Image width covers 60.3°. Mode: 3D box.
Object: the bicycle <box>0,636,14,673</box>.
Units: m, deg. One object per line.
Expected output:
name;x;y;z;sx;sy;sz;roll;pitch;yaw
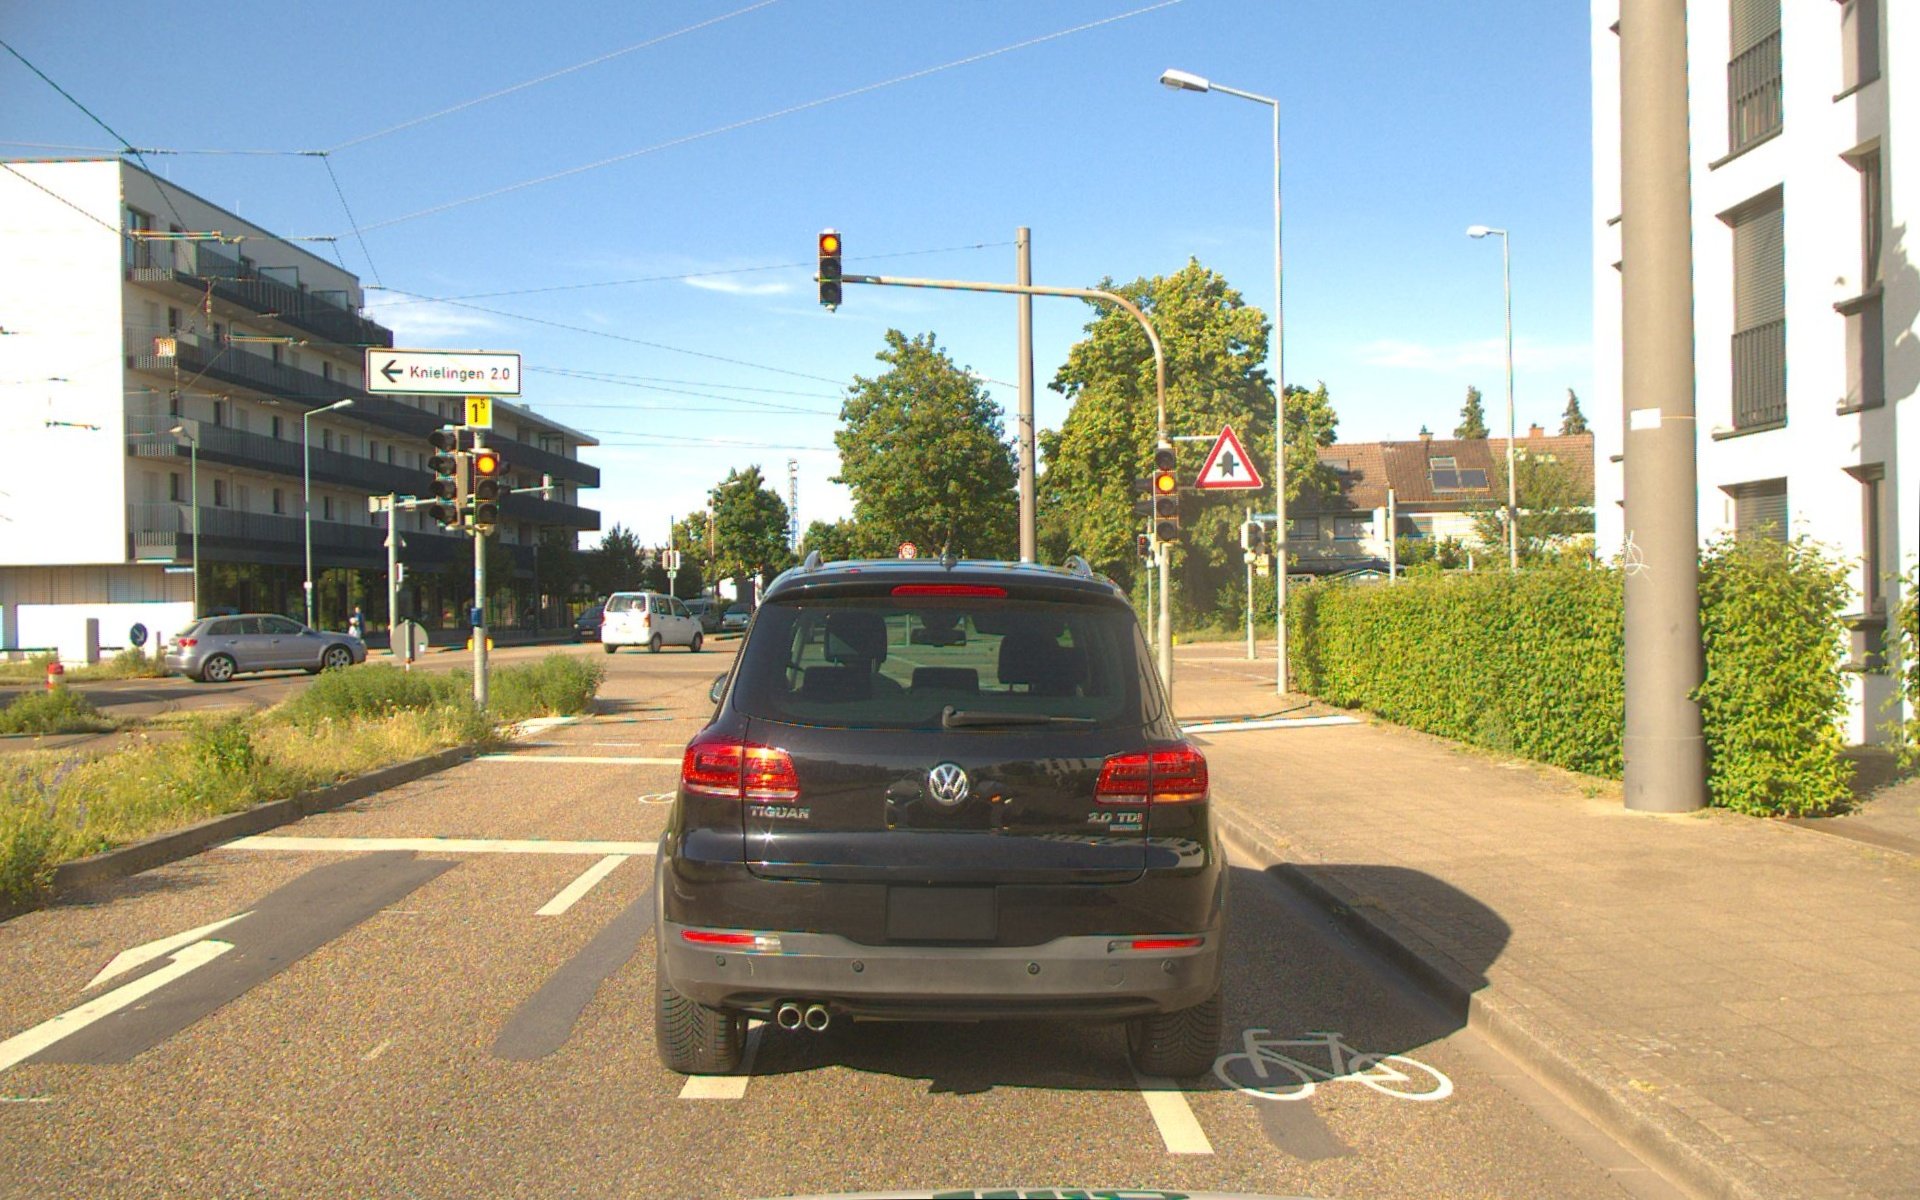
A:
bicycle;-30.758;1.718;51.733;0.805;1.144;1.855;1;0;33

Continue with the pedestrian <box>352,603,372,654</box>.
pedestrian;-21.103;1.000;58.368;0.532;1.774;0.517;1;-1;-6

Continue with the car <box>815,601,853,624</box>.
car;-9.197;0.892;121.436;1.951;1.601;4.342;1;0;7

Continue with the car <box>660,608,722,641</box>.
car;-13.714;1.231;84.506;1.951;1.601;4.342;1;0;7

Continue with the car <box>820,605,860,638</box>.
car;-6.509;1.168;90.023;1.953;1.713;3.998;1;0;-2

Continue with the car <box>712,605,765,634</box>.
car;-12.619;1.101;94.444;1.951;1.601;4.342;1;0;7

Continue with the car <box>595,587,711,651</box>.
car;-8.613;0.505;46.703;1.824;1.750;3.689;0;0;15

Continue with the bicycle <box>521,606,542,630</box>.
bicycle;-23.853;0.999;92.101;0.617;1.355;1.913;1;0;1

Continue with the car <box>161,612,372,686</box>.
car;-15.623;1.066;37.332;4.068;1.511;1.844;-1;0;-38

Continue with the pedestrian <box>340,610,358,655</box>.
pedestrian;-21.347;1.130;57.785;0.433;1.529;0.517;1;-1;-6

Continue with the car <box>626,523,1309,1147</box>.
car;-0.002;0.649;6.493;1.831;1.666;3.999;1;0;-1

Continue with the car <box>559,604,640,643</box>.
car;-15.433;1.007;71.119;1.951;1.601;4.343;1;0;9

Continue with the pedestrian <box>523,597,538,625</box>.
pedestrian;-23.856;0.635;91.948;0.629;1.535;0.596;1;-1;1

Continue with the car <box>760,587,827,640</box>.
car;-6.231;0.501;62.229;1.952;1.869;4.001;1;0;2
